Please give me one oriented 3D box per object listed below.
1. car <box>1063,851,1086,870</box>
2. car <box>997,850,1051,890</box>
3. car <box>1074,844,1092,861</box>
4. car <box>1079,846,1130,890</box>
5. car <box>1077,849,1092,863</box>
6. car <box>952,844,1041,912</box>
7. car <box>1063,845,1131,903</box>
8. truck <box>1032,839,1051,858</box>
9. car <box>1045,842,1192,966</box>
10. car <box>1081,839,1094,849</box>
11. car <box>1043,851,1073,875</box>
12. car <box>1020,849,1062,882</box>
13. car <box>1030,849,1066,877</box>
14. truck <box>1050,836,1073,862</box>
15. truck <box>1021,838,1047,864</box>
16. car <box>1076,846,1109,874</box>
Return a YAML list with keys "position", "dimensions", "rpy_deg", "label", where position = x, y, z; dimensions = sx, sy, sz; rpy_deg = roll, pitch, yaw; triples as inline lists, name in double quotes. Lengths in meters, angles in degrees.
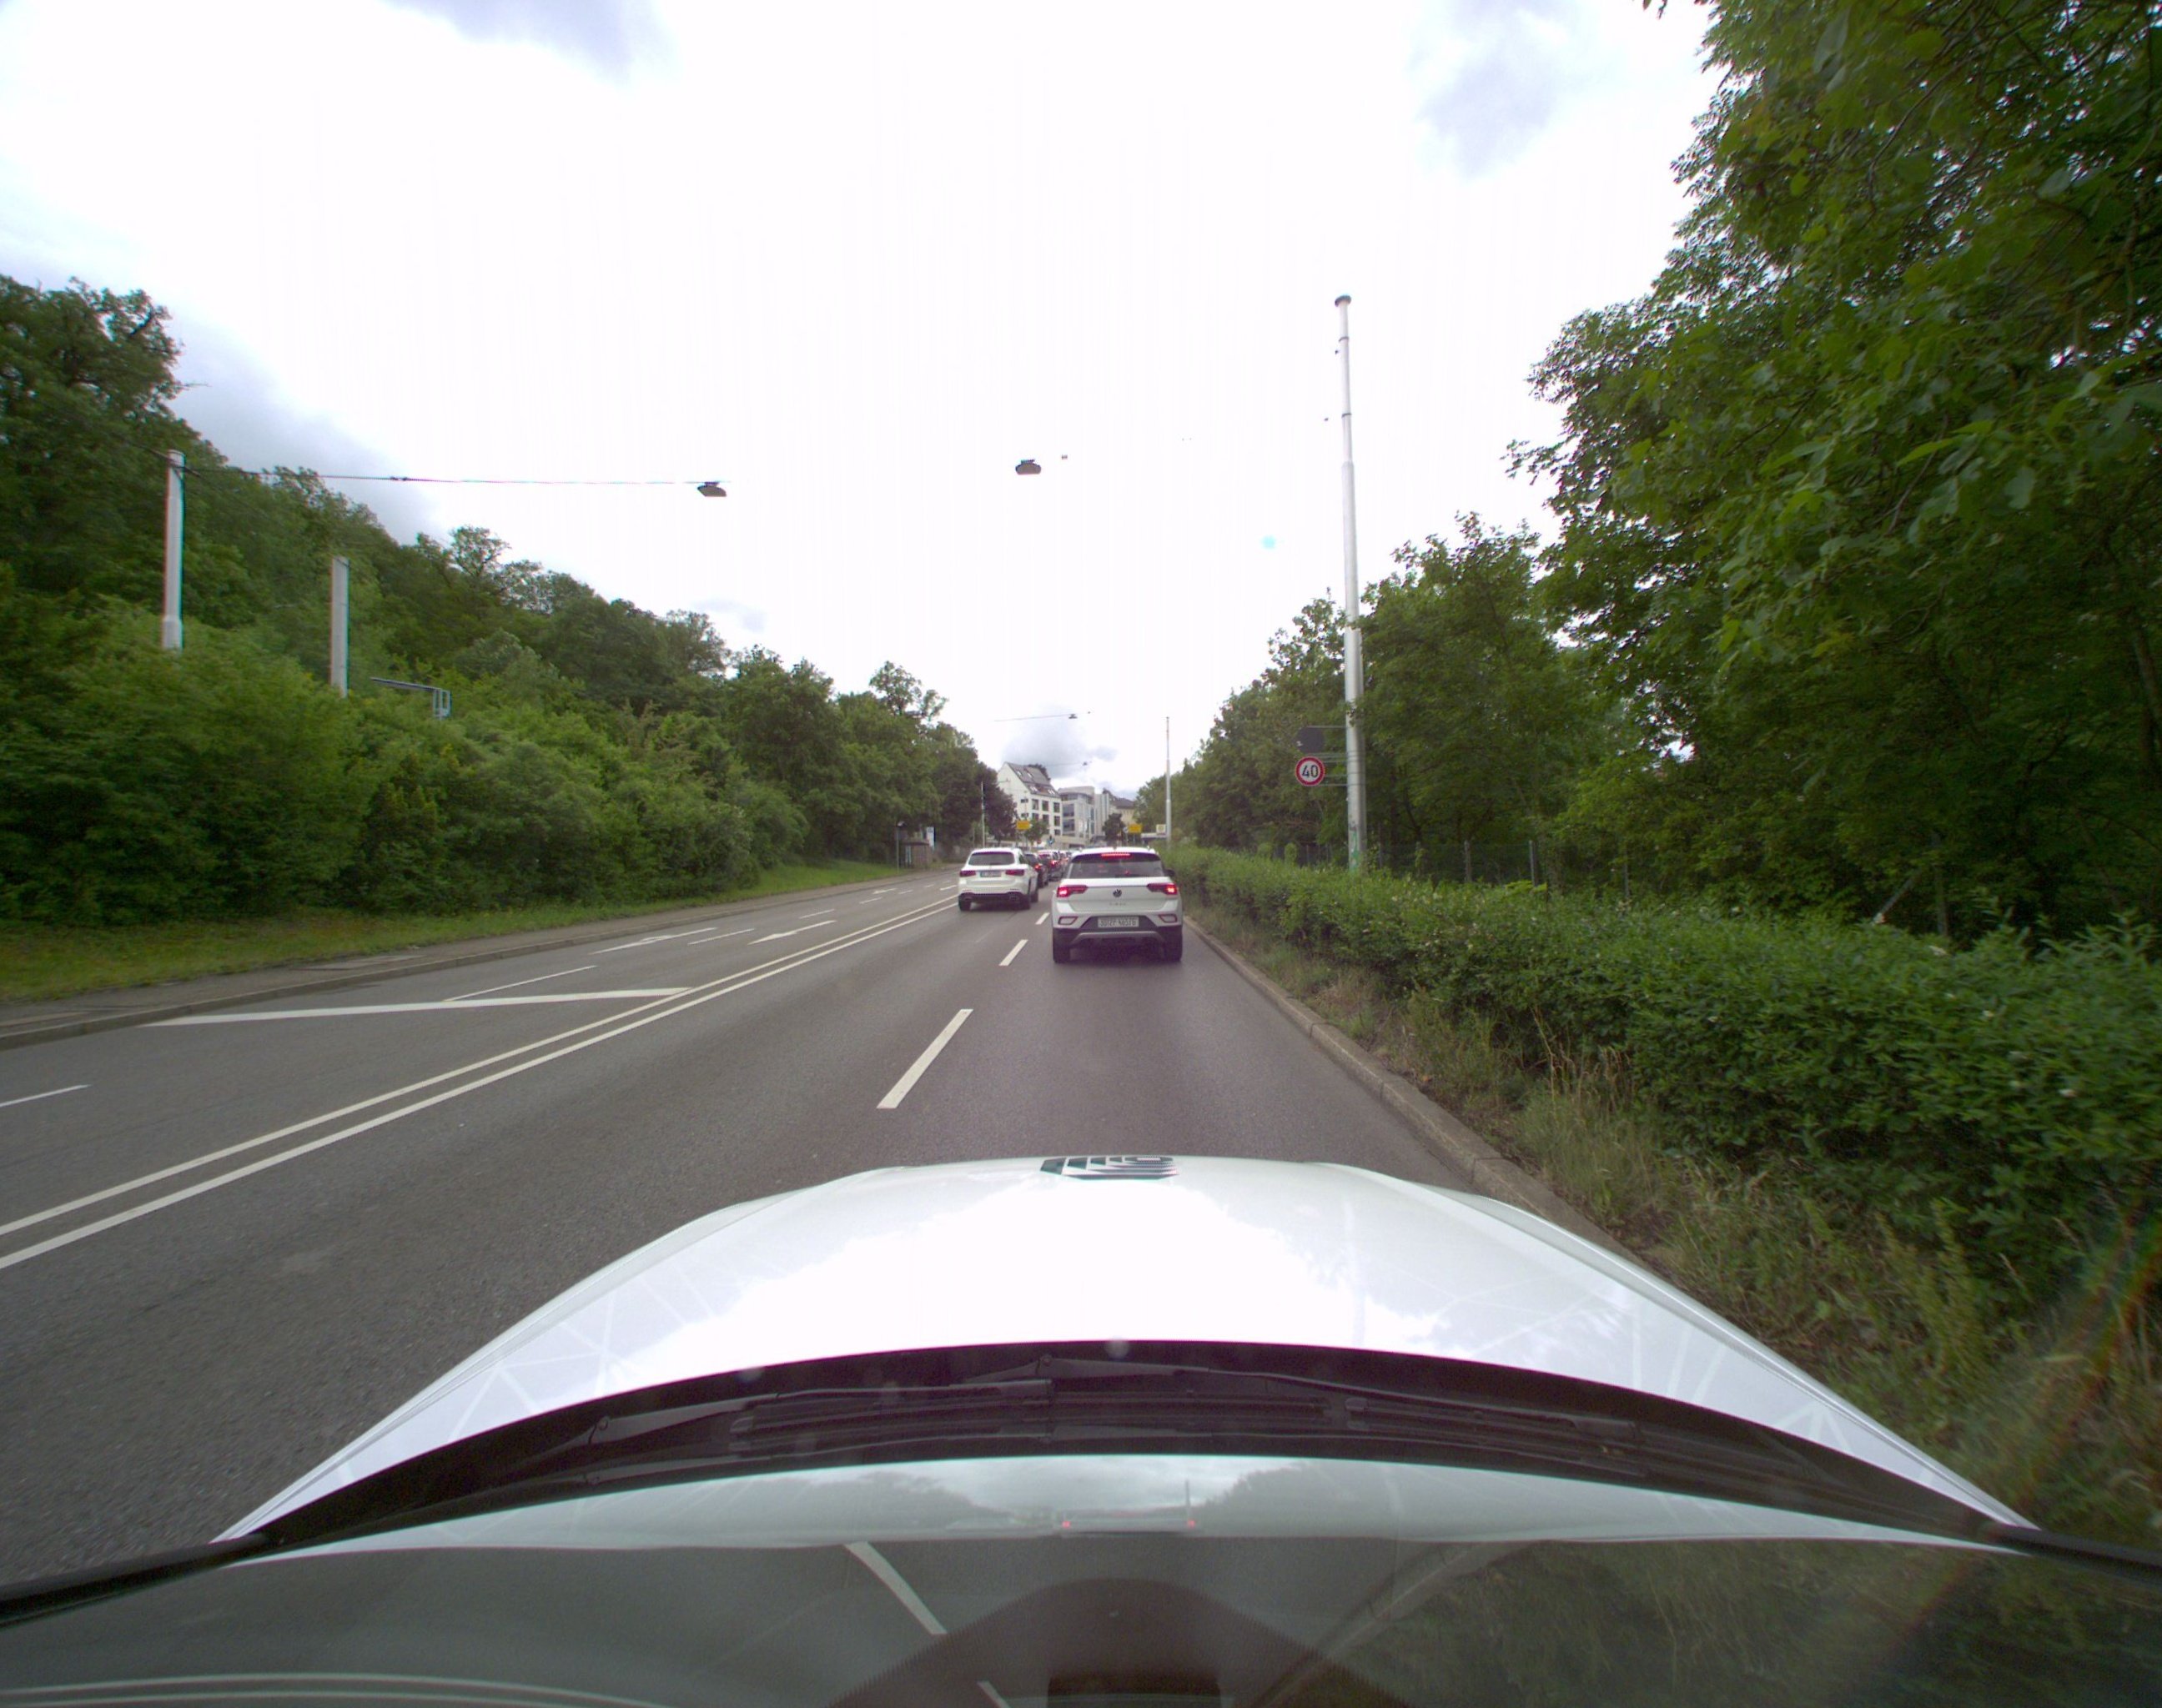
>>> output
- position: [-0.528, 0.532, 71.771]
  dimensions: [1.823, 1.526, 4.001]
  rpy_deg: [-2, 0, 1]
  label: "car"
- position: [-2.313, 0.630, 34.155]
  dimensions: [1.823, 1.497, 4.001]
  rpy_deg: [-2, 0, 1]
  label: "car"
- position: [0.245, -0.129, 86.954]
  dimensions: [1.809, 1.656, 3.929]
  rpy_deg: [-3, 0, 1]
  label: "car"
- position: [0.904, 0.512, 31.719]
  dimensions: [1.823, 1.526, 4.001]
  rpy_deg: [-2, 0, 1]
  label: "car"
- position: [0.450, 0.241, 101.648]
  dimensions: [1.823, 1.526, 4.001]
  rpy_deg: [-2, 0, 1]
  label: "car"
- position: [-2.220, 0.585, 22.395]
  dimensions: [1.911, 1.669, 4.001]
  rpy_deg: [-1, 0, 1]
  label: "car"
- position: [0.482, 0.543, 24.613]
  dimensions: [1.823, 1.526, 4.001]
  rpy_deg: [-2, 0, 1]
  label: "car"
- position: [-6.413, -0.882, 133.215]
  dimensions: [2.283, 3.051, 6.986]
  rpy_deg: [-3, 0, 4]
  label: "truck"
- position: [0.521, 0.630, 12.396]
  dimensions: [1.823, 1.526, 4.001]
  rpy_deg: [-2, 0, 1]
  label: "car"
- position: [1.050, -1.577, 126.698]
  dimensions: [1.823, 1.526, 4.001]
  rpy_deg: [-2, 0, 1]
  label: "car"
- position: [-1.564, 0.587, 56.545]
  dimensions: [1.823, 1.526, 4.001]
  rpy_deg: [-2, 0, 1]
  label: "car"
- position: [-1.988, 0.558, 41.639]
  dimensions: [1.823, 1.526, 4.001]
  rpy_deg: [-2, 0, 1]
  label: "car"
- position: [-1.942, 0.514, 48.804]
  dimensions: [1.823, 1.526, 4.001]
  rpy_deg: [-2, 0, 1]
  label: "car"
- position: [-2.288, -0.570, 95.536]
  dimensions: [2.354, 2.782, 4.479]
  rpy_deg: [-3, 0, 1]
  label: "truck"
- position: [-5.203, -0.387, 90.811]
  dimensions: [2.354, 2.706, 4.479]
  rpy_deg: [-3, 0, 1]
  label: "truck"
- position: [0.725, 0.339, 48.675]
  dimensions: [1.823, 1.526, 4.001]
  rpy_deg: [-2, 0, 1]
  label: "car"
